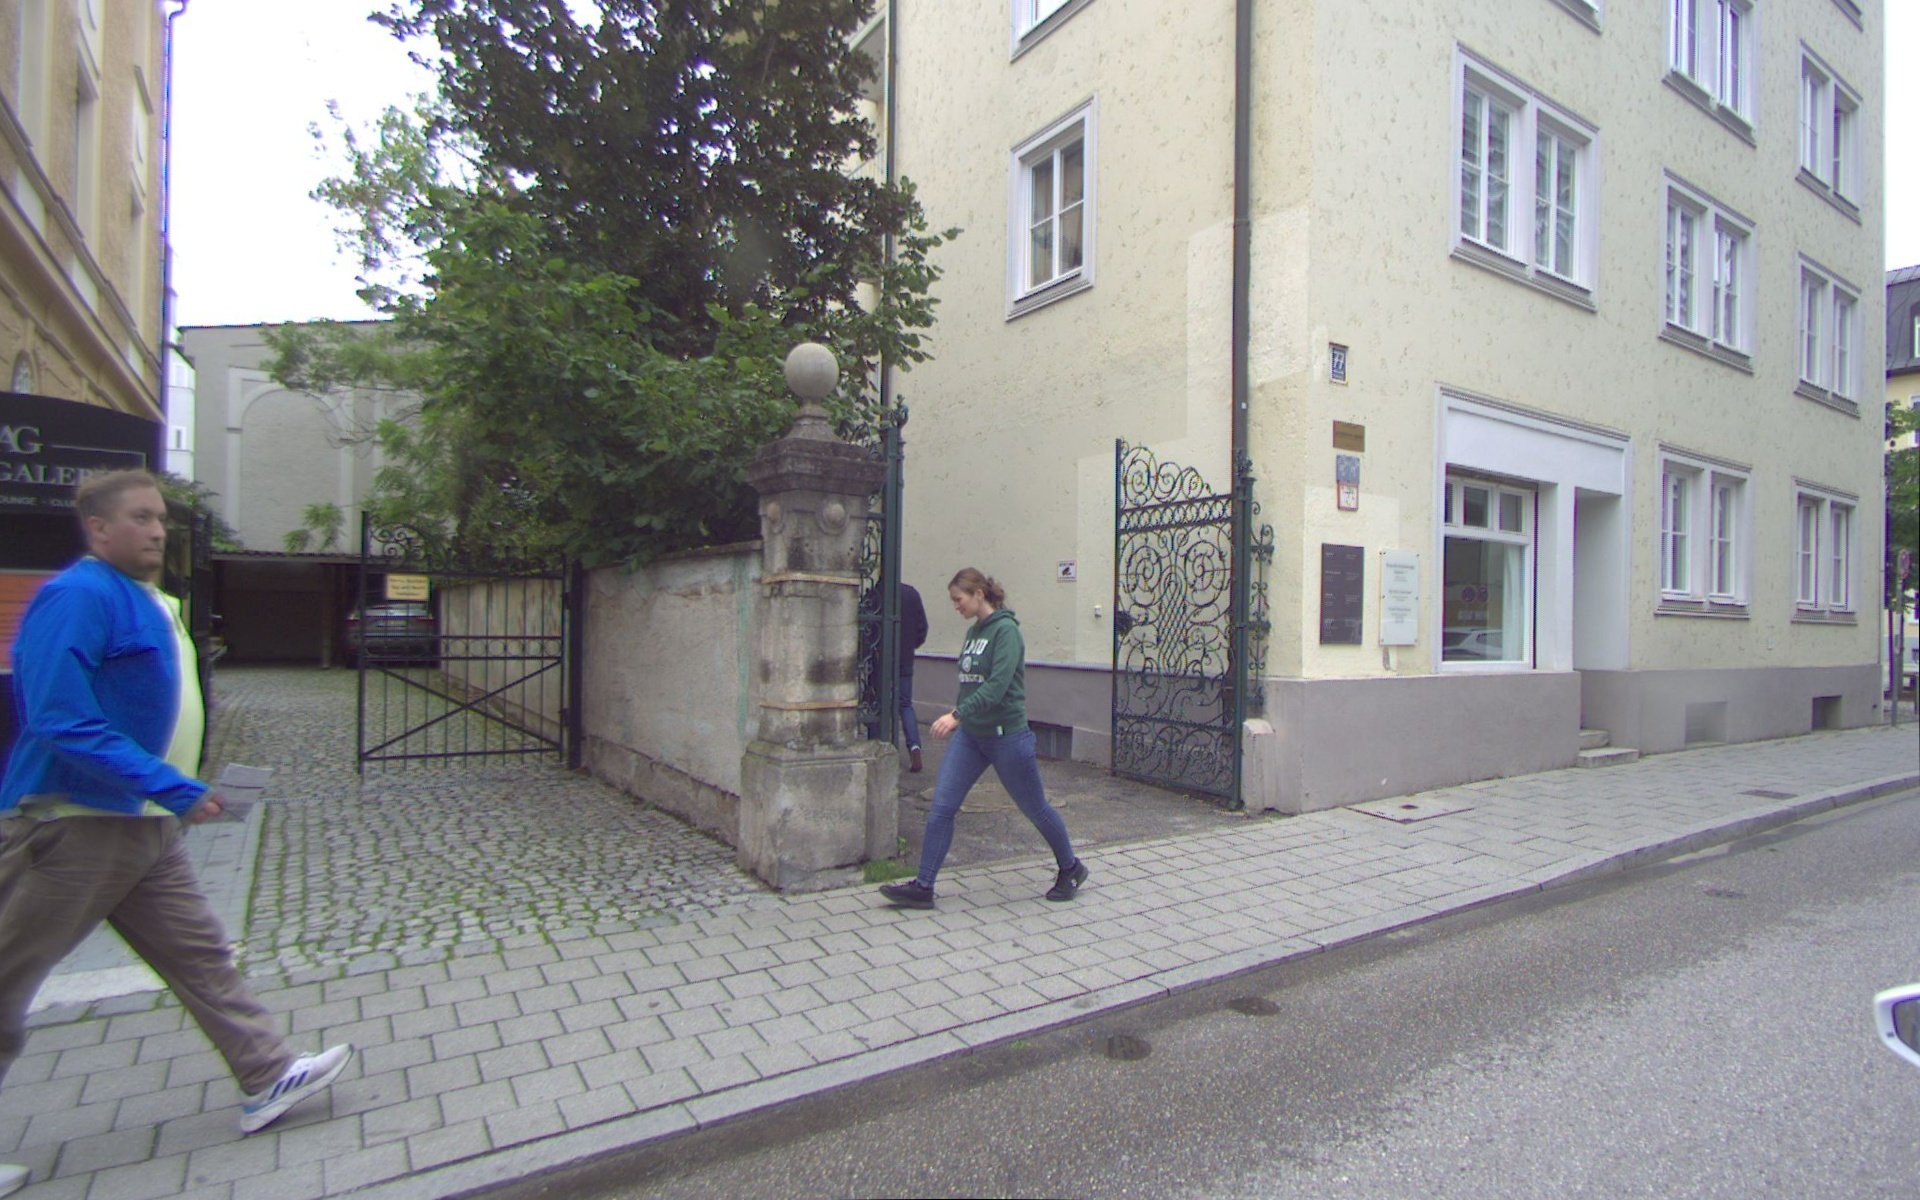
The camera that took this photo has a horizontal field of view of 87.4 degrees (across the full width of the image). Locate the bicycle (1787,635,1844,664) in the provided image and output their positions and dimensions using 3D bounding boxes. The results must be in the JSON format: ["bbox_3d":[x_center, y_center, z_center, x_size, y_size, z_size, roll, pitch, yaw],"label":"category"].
[{"bbox_3d":[34.610,1.994,40.646,0.590,1.083,1.648,1,0,-29],"label":"bicycle"}]

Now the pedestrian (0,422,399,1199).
[{"bbox_3d":[-2.139,0.549,2.650,1.065,1.879,0.752,2,0,-34],"label":"pedestrian"}]

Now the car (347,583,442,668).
[{"bbox_3d":[-12.074,0.491,21.615,1.614,1.561,3.705,2,2,-28],"label":"car"}]

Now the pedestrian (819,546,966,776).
[{"bbox_3d":[-0.597,0.503,8.740,0.899,1.851,0.947,1,0,-34],"label":"pedestrian"}]

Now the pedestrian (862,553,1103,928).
[{"bbox_3d":[0.107,0.634,5.071,0.920,1.688,0.708,1,2,-34],"label":"pedestrian"}]

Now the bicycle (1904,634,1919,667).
[{"bbox_3d":[36.844,1.933,37.660,0.562,1.213,2.036,1,0,-26],"label":"bicycle"}]
